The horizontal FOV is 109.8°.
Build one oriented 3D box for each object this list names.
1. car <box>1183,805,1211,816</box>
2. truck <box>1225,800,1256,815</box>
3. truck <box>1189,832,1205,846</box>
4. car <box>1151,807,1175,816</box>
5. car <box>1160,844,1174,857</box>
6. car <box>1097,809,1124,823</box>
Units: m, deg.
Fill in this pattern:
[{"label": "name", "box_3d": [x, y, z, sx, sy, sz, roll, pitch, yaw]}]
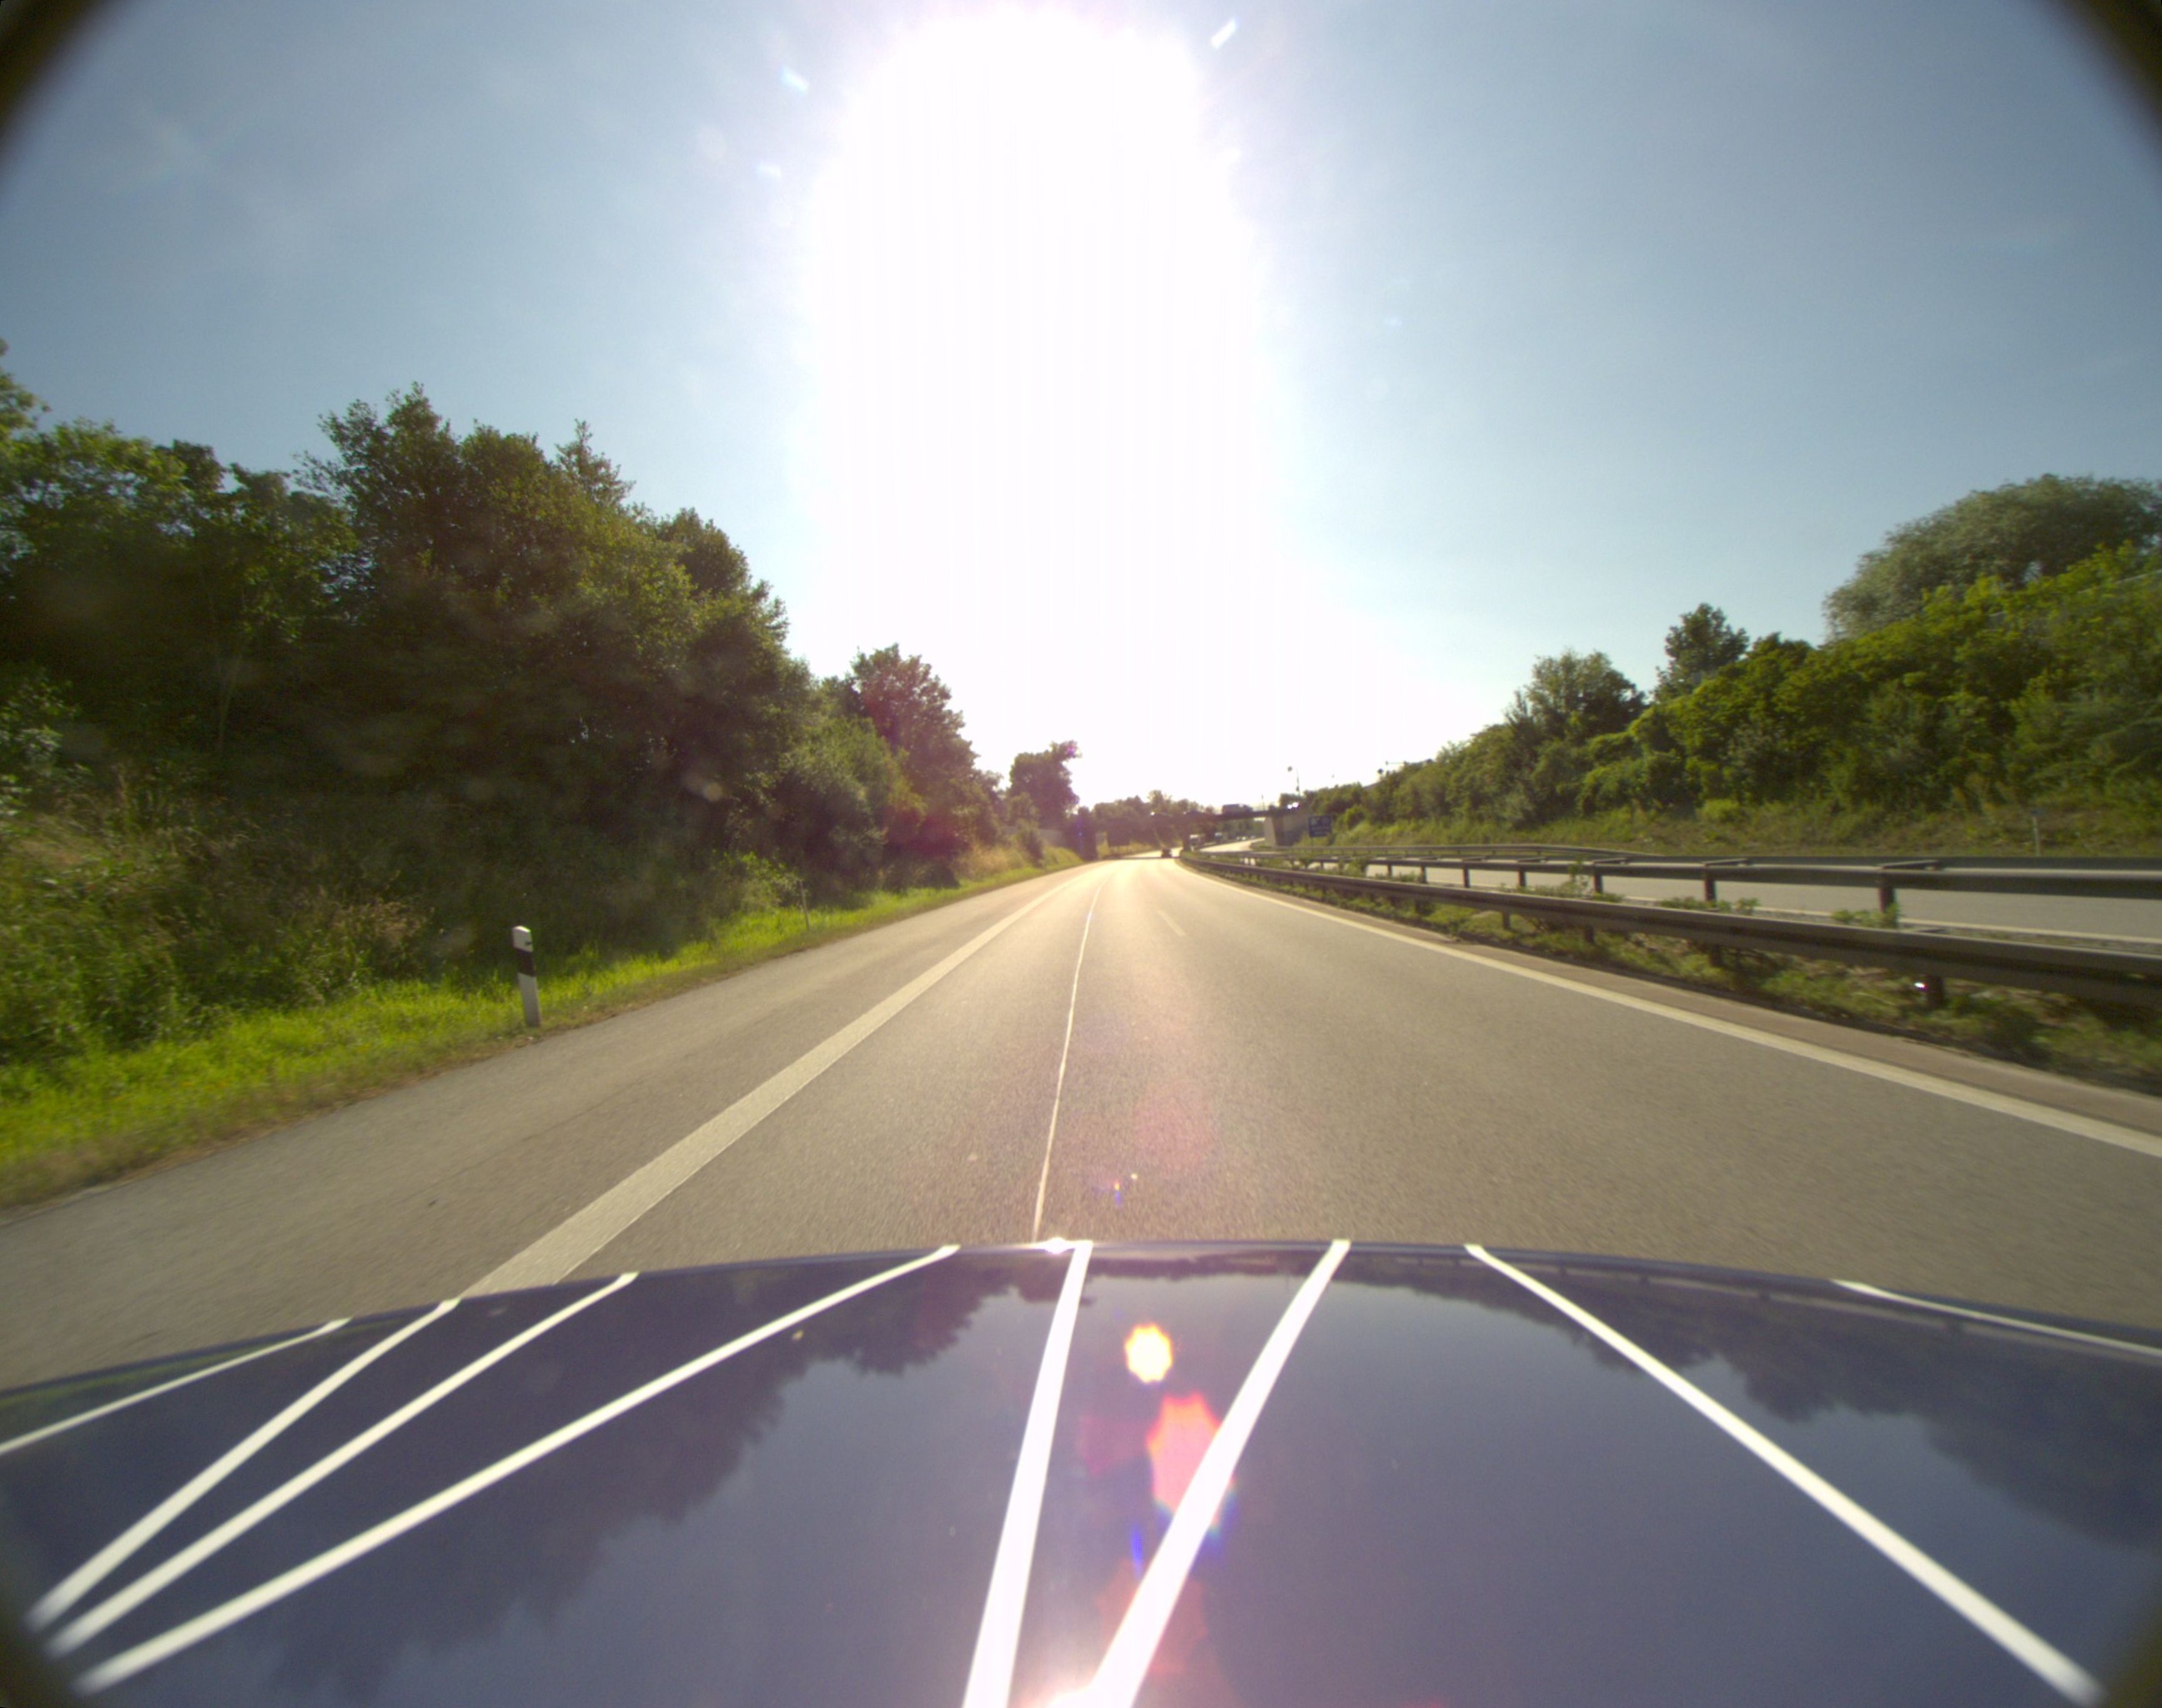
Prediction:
[{"label": "car", "box_3d": [19.240, -7.245, 125.816, 4.437, 1.547, 1.907, -3, 2, 8]}, {"label": "truck", "box_3d": [26.136, -7.694, 124.690, 4.865, 2.155, 2.001, -2, 2, 9]}, {"label": "truck", "box_3d": [37.434, -4.977, 244.944, 3.430, 4.188, 12.096, -2, 1, 16]}, {"label": "car", "box_3d": [13.568, -7.058, 126.281, 3.841, 1.298, 1.825, -3, 2, 8]}, {"label": "car", "box_3d": [14.154, -0.623, 124.647, 1.997, 2.002, 4.602, -4, 0, 8]}, {"label": "car", "box_3d": [4.778, -6.123, 123.201, 3.994, 2.088, 1.740, -2, 2, 10]}]
